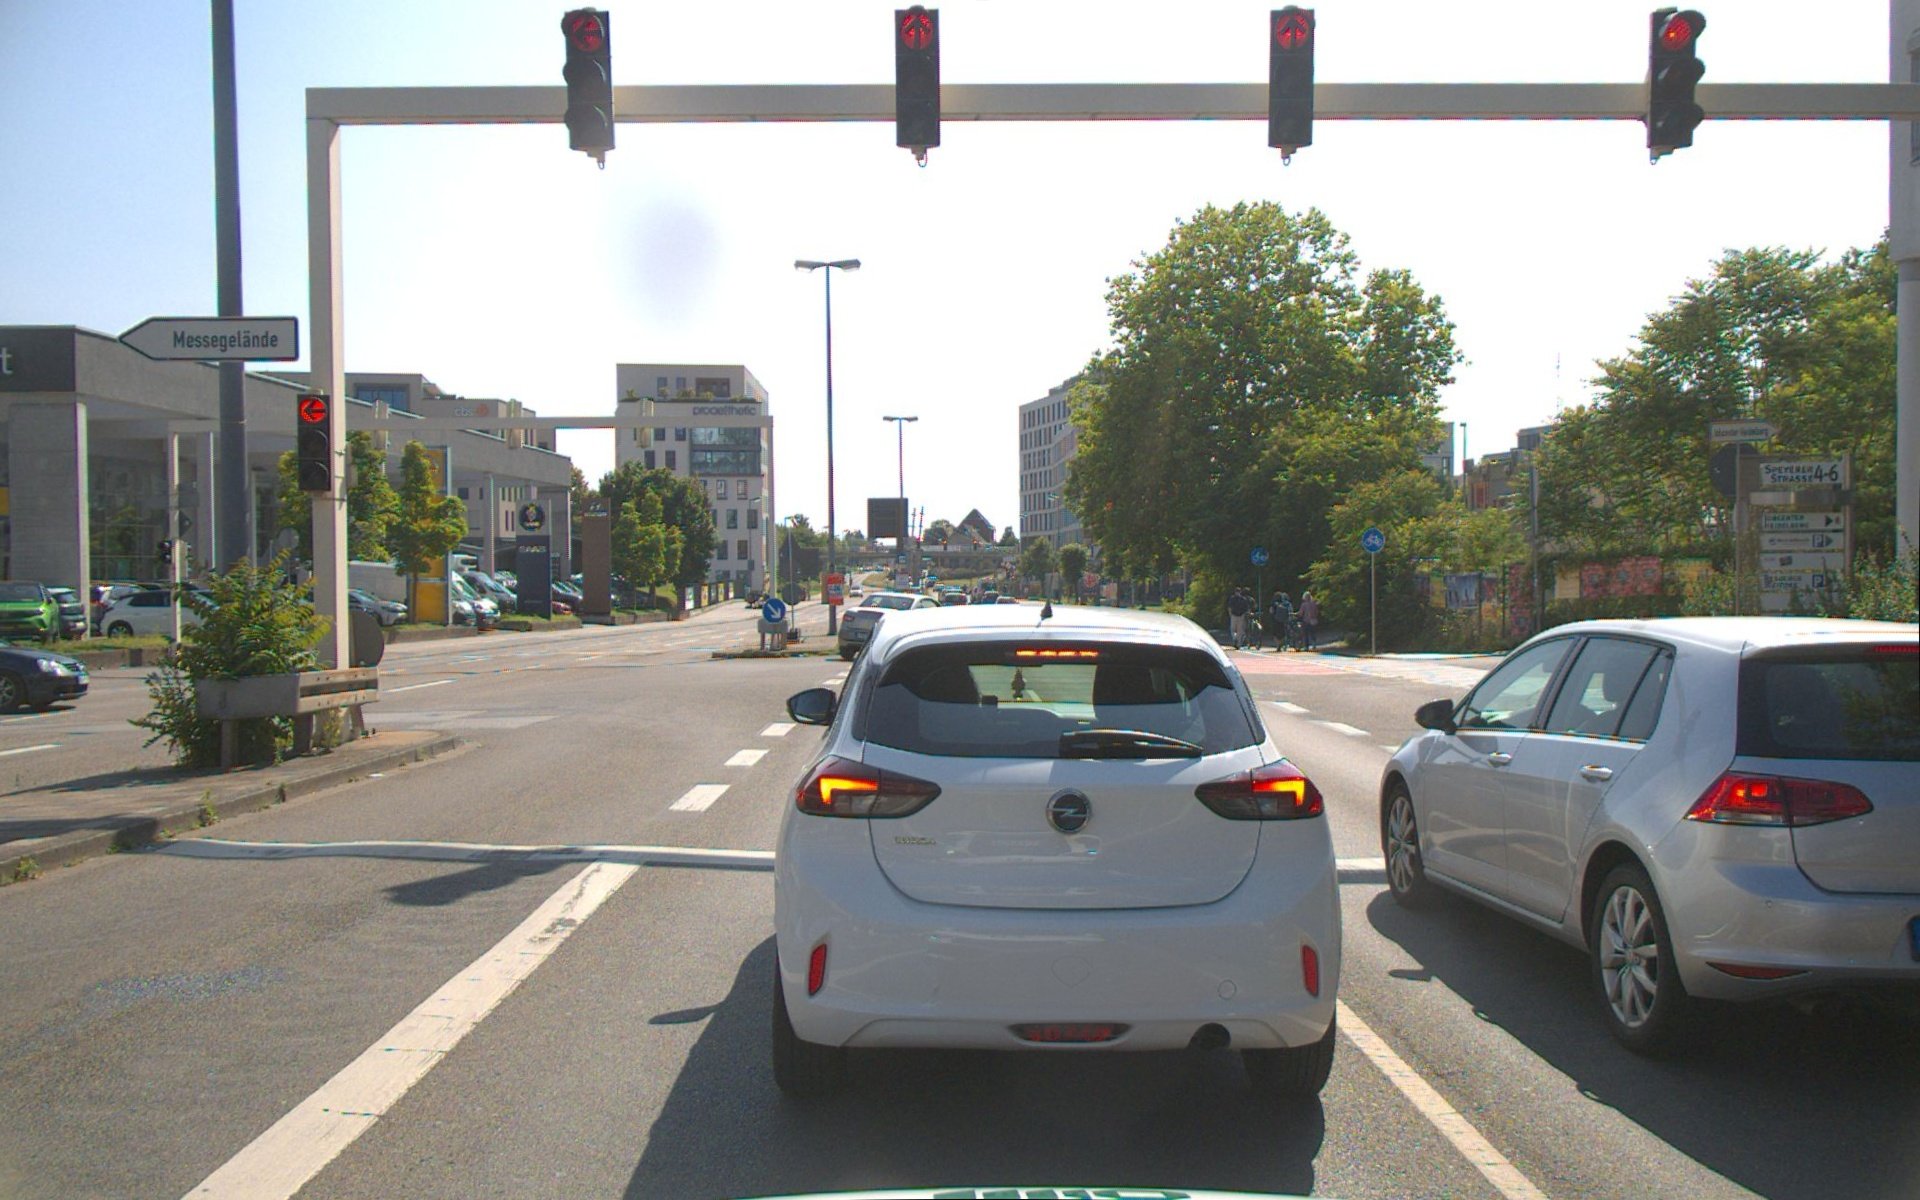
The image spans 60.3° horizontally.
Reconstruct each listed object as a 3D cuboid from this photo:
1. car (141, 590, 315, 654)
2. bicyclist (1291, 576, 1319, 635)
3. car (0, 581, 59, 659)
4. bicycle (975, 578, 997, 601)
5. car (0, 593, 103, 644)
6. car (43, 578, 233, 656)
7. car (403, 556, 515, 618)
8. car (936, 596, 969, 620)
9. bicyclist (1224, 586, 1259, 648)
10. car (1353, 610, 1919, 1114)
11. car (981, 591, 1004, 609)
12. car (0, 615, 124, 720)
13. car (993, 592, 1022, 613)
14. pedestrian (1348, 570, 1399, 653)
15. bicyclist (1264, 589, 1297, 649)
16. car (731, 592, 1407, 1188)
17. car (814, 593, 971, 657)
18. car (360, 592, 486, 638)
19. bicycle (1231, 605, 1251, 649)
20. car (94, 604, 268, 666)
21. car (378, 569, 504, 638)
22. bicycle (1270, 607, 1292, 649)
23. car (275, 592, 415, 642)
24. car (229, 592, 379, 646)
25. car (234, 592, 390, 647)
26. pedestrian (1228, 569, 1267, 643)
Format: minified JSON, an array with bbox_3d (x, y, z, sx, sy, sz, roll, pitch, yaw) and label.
[{"bbox_3d":[-21.469,0.619,48.628,4.211,1.796,1.999,-1,0,-4],"label":"car"},{"bbox_3d":[9.866,0.151,47.371,0.639,1.666,0.659,1,-1,-1],"label":"bicyclist"},{"bbox_3d":[-22.560,0.499,38.956,1.887,1.764,3.250,-1,-1,-37],"label":"car"},{"bbox_3d":[2.444,-0.987,155.407,1.953,2.195,3.999,-1,0,-1],"label":"bicycle"},{"bbox_3d":[-26.264,0.542,45.536,4.276,1.290,1.996,-2,-1,-9],"label":"car"},{"bbox_3d":[-20.730,0.408,41.851,3.793,1.870,1.999,-1,0,-4],"label":"car"},{"bbox_3d":[-21.985,-0.573,72.720,4.265,2.646,2.001,-1,0,4],"label":"car"},{"bbox_3d":[-0.456,0.490,98.770,1.770,1.410,3.997,1,-1,-3],"label":"car"},{"bbox_3d":[8.228,0.498,48.360,0.861,1.803,0.863,0,0,-1],"label":"bicyclist"},{"bbox_3d":[3.102,0.779,6.906,1.771,1.454,3.997,-1,0,-3],"label":"car"},{"bbox_3d":[2.734,-0.002,138.611,1.769,1.410,3.999,1,-1,-1],"label":"car"},{"bbox_3d":[-14.847,0.997,24.543,3.914,1.467,1.995,-1,0,-10],"label":"car"},{"bbox_3d":[3.239,0.177,113.521,1.769,1.410,3.999,1,-1,-1],"label":"car"},{"bbox_3d":[10.467,0.286,41.859,1.006,2.049,1.038,0,0,-1],"label":"pedestrian"},{"bbox_3d":[9.037,0.522,46.658,0.675,1.672,0.775,0,0,-9],"label":"bicyclist"},{"bbox_3d":[0.253,0.739,6.286,1.743,1.520,3.999,-1,0,-1],"label":"car"},{"bbox_3d":[-1.465,0.565,37.523,1.954,1.355,3.997,1,-1,25],"label":"car"},{"bbox_3d":[-21.068,0.565,64.972,4.265,1.726,2.001,-1,0,4],"label":"car"},{"bbox_3d":[8.207,0.782,48.355,0.365,1.238,1.153,1,0,-1],"label":"bicycle"},{"bbox_3d":[-21.572,0.937,45.954,3.912,1.627,1.997,-1,0,-8],"label":"car"},{"bbox_3d":[-21.139,0.148,67.420,4.401,2.731,2.130,-1,0,8],"label":"car"},{"bbox_3d":[9.050,0.785,46.599,0.366,1.167,1.034,1,-1,-3],"label":"bicycle"},{"bbox_3d":[-21.972,0.590,59.188,4.270,1.726,1.999,-1,0,-4],"label":"car"},{"bbox_3d":[-22.167,0.616,55.981,4.270,1.726,1.999,-1,0,-4],"label":"car"},{"bbox_3d":[-21.018,0.622,53.776,4.270,1.726,1.999,0,0,-3],"label":"car"},{"bbox_3d":[8.983,0.182,51.691,1.006,2.278,1.038,0,0,-1],"label":"pedestrian"}]
